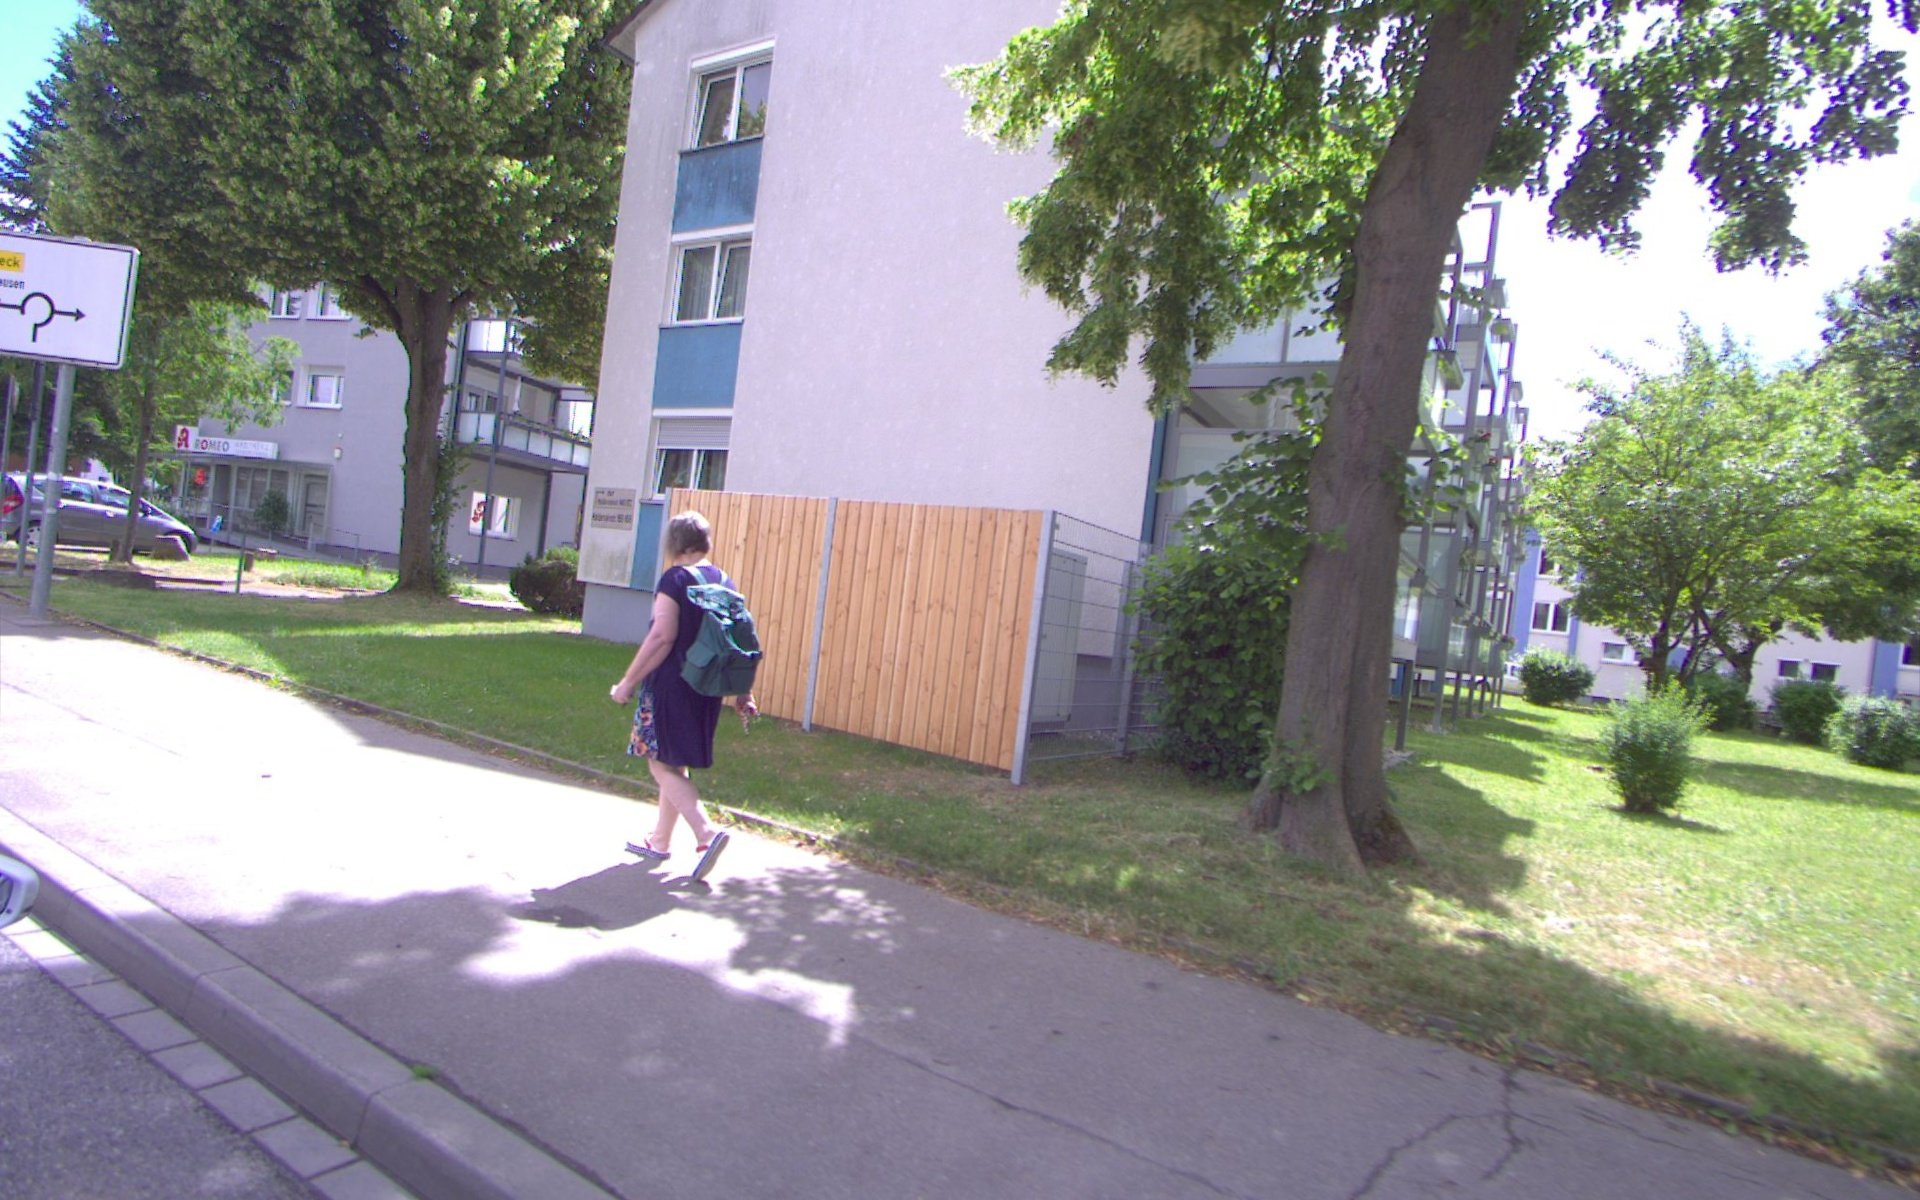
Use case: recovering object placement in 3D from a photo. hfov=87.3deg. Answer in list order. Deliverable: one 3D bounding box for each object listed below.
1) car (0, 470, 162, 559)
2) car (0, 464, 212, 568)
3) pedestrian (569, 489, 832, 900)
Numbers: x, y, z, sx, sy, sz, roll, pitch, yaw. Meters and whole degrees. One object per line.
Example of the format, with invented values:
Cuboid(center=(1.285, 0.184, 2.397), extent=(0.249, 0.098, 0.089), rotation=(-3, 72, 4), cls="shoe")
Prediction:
Cuboid(center=(-21.700, -2.103, 23.789), extent=(1.727, 1.579, 4.004), rotation=(8, -2, 19), cls="car")
Cuboid(center=(-18.976, -1.812, 21.820), extent=(1.727, 1.579, 4.004), rotation=(8, -2, 19), cls="car")
Cuboid(center=(-1.226, 0.407, 4.789), extent=(0.753, 1.728, 0.718), rotation=(8, 2, 31), cls="pedestrian")
